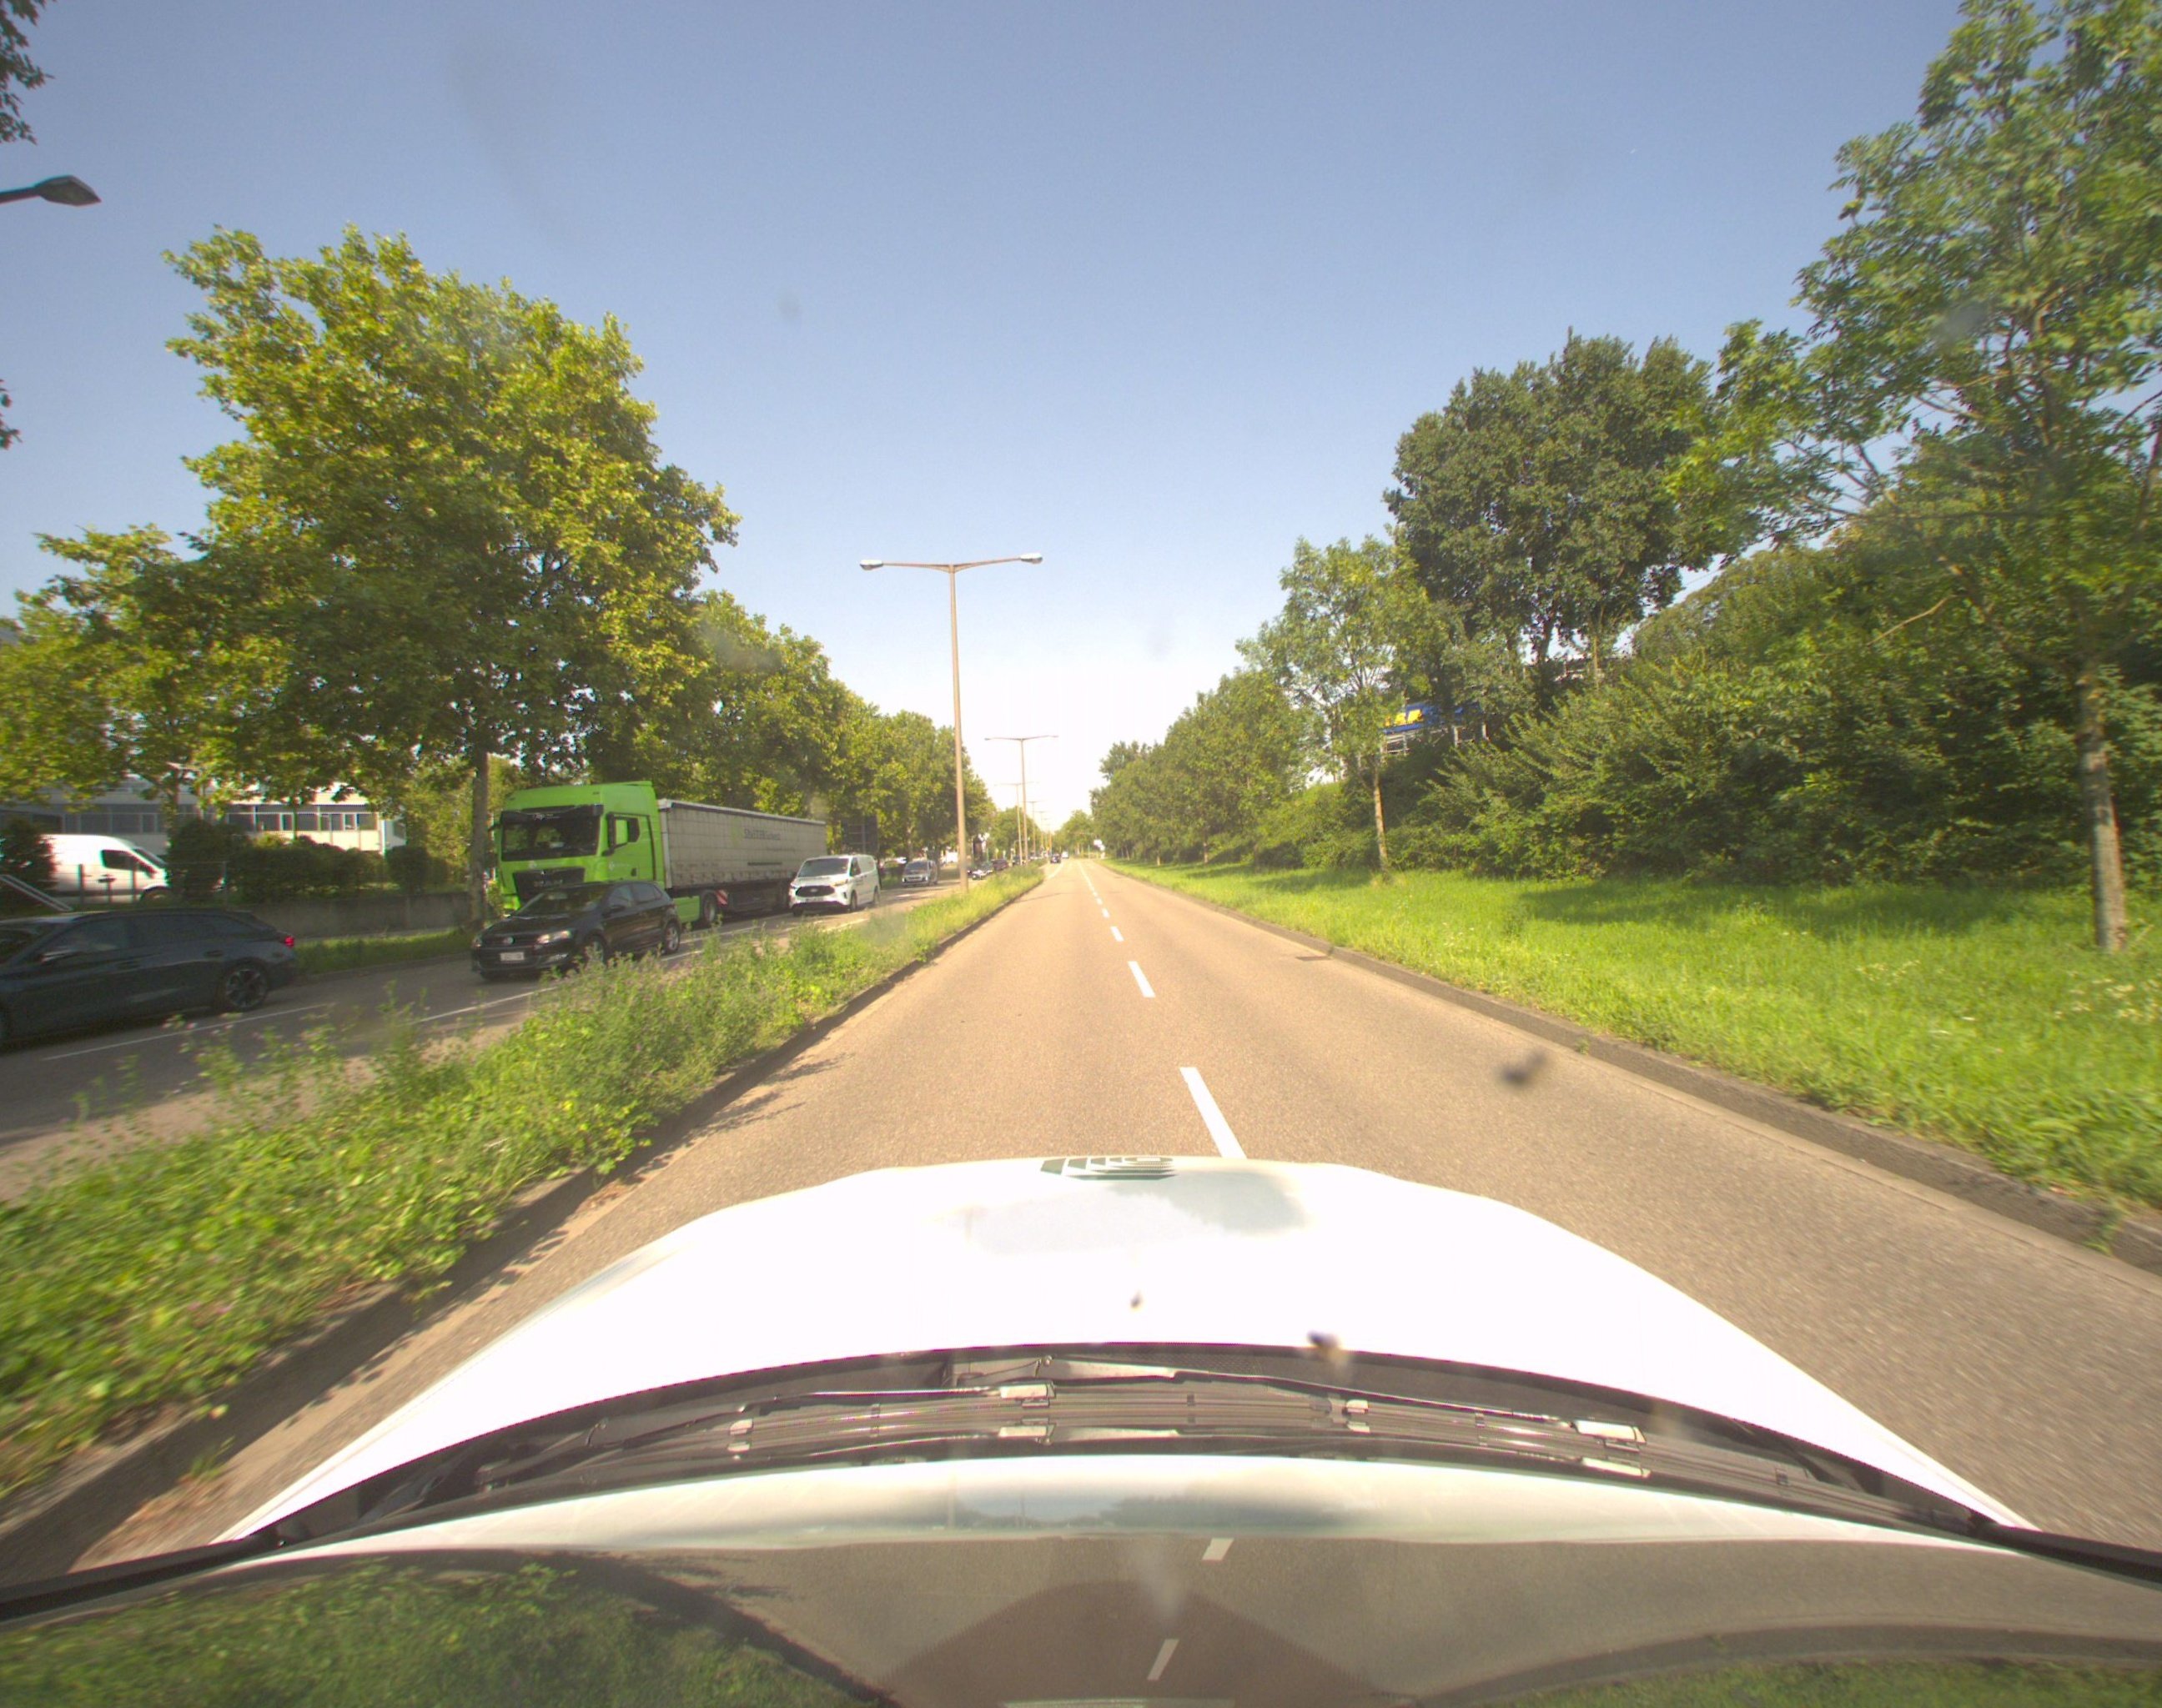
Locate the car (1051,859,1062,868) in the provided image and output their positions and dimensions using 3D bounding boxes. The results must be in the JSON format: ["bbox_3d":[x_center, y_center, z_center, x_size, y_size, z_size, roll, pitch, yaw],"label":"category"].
[{"bbox_3d":[-4.421,1.730,147.575,1.685,1.486,4.002,-2,0,2],"label":"car"}]

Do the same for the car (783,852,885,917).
[{"bbox_3d":[-8.366,0.975,28.099,1.988,1.953,5.034,-2,0,-1],"label":"car"}]

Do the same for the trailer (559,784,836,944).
[{"bbox_3d":[-11.723,0.309,27.367,2.625,3.821,13.806,-4,-1,-1],"label":"trailer"}]

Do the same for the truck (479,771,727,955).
[{"bbox_3d":[-11.646,0.217,20.623,2.600,3.819,5.889,-4,-1,-1],"label":"truck"}]

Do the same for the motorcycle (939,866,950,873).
[{"bbox_3d":[-25.568,2.940,152.579,2.085,1.136,0.670,-2,-1,-36],"label":"motorcycle"}]

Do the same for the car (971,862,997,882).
[{"bbox_3d":[-8.249,1.510,69.702,1.742,1.479,4.582,-4,-1,-2],"label":"car"}]

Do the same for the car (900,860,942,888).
[{"bbox_3d":[-11.674,1.434,59.585,1.978,1.858,4.967,-4,-1,0],"label":"car"}]

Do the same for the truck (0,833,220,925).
[{"bbox_3d":[-33.486,0.787,27.386,5.934,2.861,2.213,-2,-1,-39],"label":"truck"}]

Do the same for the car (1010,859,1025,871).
[{"bbox_3d":[-10.487,1.791,135.226,1.987,1.759,4.475,-4,-1,0],"label":"car"}]

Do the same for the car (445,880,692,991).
[{"bbox_3d":[-8.358,1.244,13.746,1.609,1.398,3.857,-4,-1,1],"label":"car"}]

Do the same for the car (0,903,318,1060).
[{"bbox_3d":[-11.721,1.438,9.354,1.642,1.411,4.478,-4,-1,-1],"label":"car"}]

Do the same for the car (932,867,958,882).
[{"bbox_3d":[-13.664,2.061,82.162,1.784,1.263,4.096,-4,0,1],"label":"car"}]

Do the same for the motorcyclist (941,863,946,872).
[{"bbox_3d":[-25.720,2.536,152.505,0.687,1.572,0.676,-1,-1,-37],"label":"motorcyclist"}]

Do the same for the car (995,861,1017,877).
[{"bbox_3d":[-8.301,1.642,90.104,1.948,1.724,4.585,-3,-1,0],"label":"car"}]
